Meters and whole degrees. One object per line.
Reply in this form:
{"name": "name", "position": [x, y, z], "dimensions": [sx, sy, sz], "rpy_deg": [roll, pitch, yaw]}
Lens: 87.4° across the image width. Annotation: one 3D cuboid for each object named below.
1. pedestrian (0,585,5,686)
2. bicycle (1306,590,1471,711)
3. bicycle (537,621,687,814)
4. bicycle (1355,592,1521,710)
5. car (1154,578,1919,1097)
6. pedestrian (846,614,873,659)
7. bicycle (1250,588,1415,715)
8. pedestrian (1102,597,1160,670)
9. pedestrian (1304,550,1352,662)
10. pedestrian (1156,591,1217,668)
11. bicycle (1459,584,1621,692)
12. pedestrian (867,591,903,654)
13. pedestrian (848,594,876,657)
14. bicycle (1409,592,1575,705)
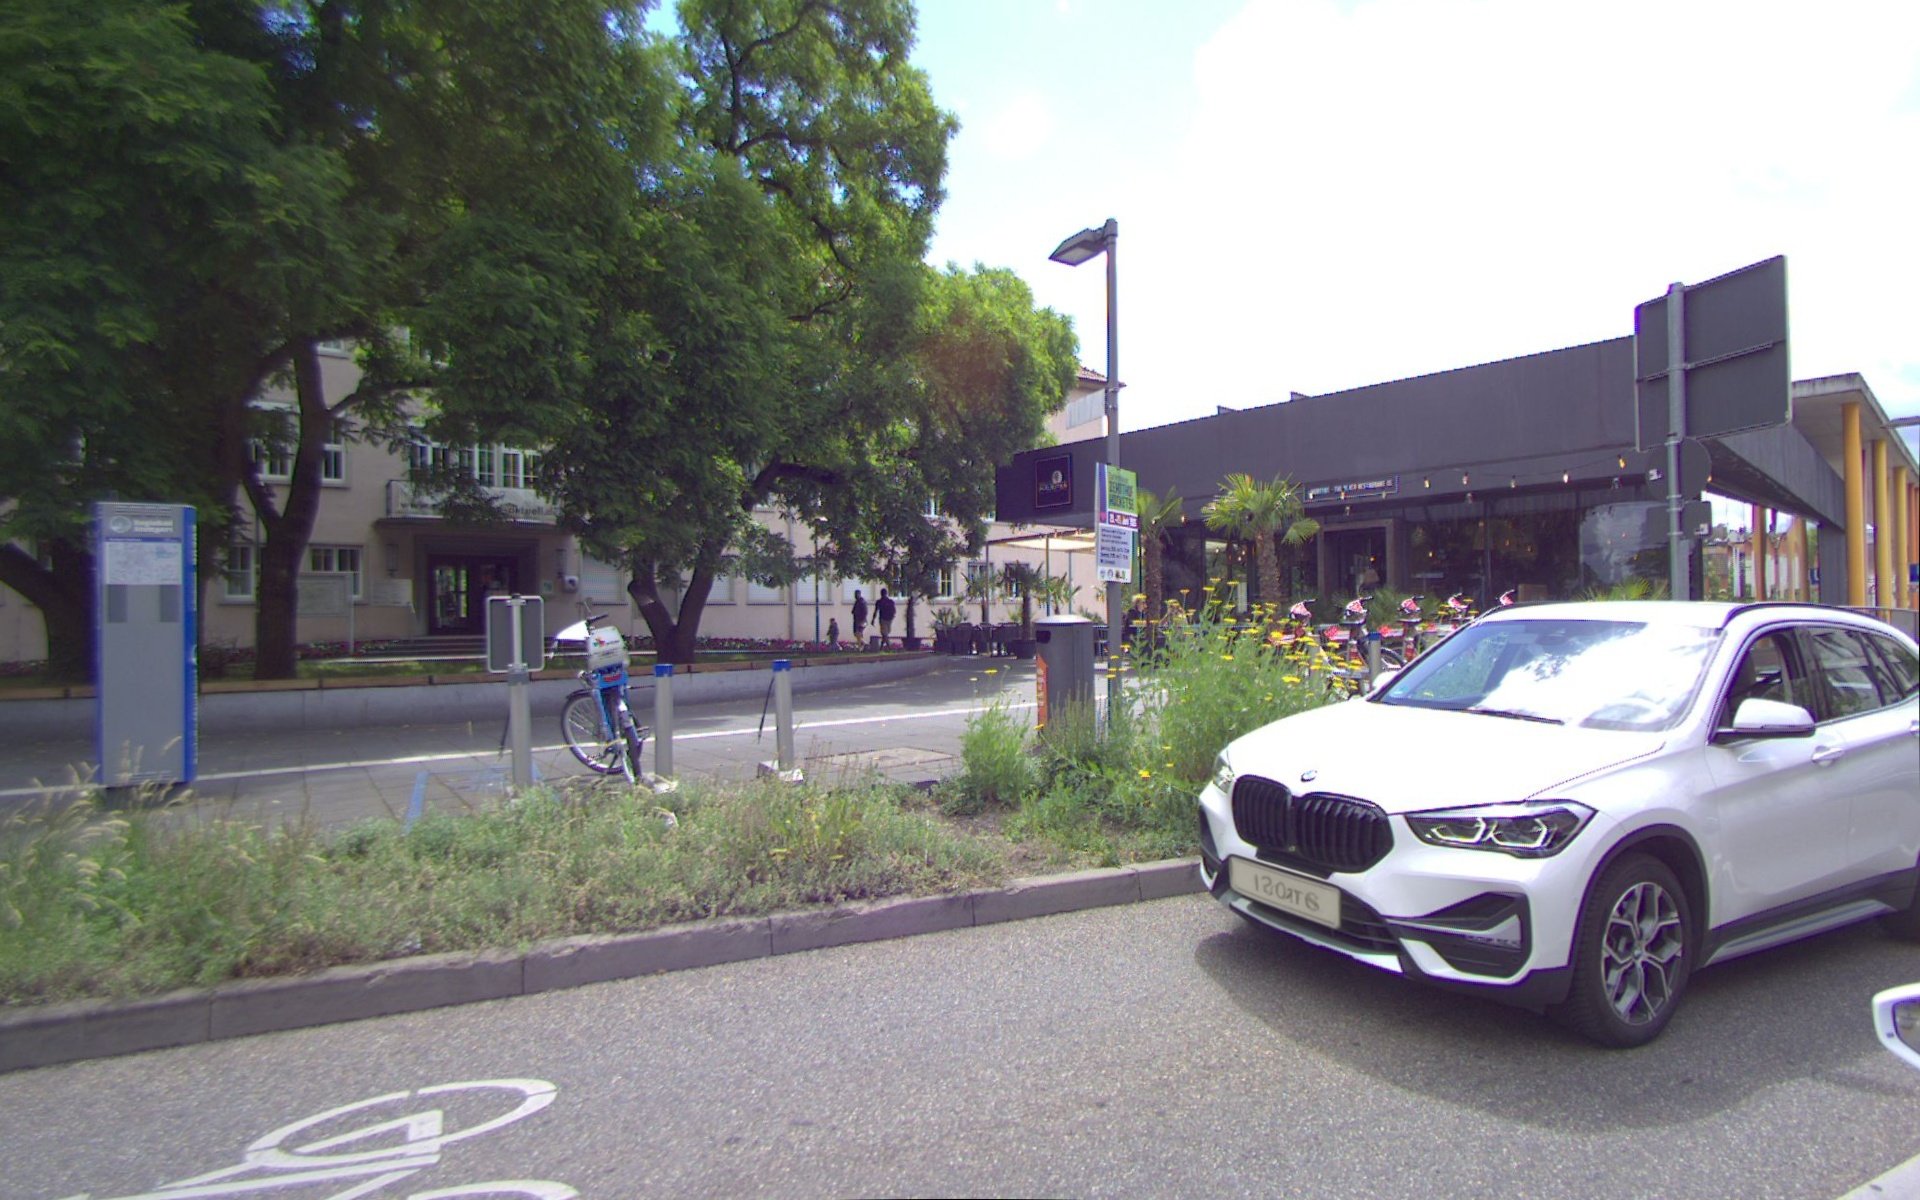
{"name": "pedestrian", "position": [-18.100, 0.652, 18.286], "dimensions": [0.867, 1.875, 0.657], "rpy_deg": [-1, 0, -29]}
{"name": "bicycle", "position": [4.345, 0.512, 10.288], "dimensions": [0.527, 1.142, 1.540], "rpy_deg": [1, -2, -29]}
{"name": "bicycle", "position": [-2.335, 0.706, 6.618], "dimensions": [0.510, 1.096, 1.676], "rpy_deg": [-1, -1, -34]}
{"name": "bicycle", "position": [4.975, 0.525, 10.542], "dimensions": [0.527, 1.142, 1.540], "rpy_deg": [1, -2, -29]}
{"name": "car", "position": [3.145, 0.788, 4.902], "dimensions": [4.113, 1.605, 1.815], "rpy_deg": [1, -1, -28]}
{"name": "pedestrian", "position": [-3.042, 1.095, 30.322], "dimensions": [0.586, 1.355, 0.639], "rpy_deg": [2, -1, -30]}
{"name": "bicycle", "position": [3.605, 0.493, 9.846], "dimensions": [0.527, 1.142, 1.540], "rpy_deg": [1, -2, -29]}
{"name": "pedestrian", "position": [3.368, 0.659, 19.799], "dimensions": [0.787, 1.397, 0.790], "rpy_deg": [3, -2, -43]}
{"name": "pedestrian", "position": [7.006, 0.123, 19.123], "dimensions": [0.625, 2.079, 0.665], "rpy_deg": [0, -2, 44]}
{"name": "pedestrian", "position": [4.222, 0.549, 18.745], "dimensions": [0.787, 1.397, 0.790], "rpy_deg": [3, -2, -43]}
{"name": "bicycle", "position": [6.590, 0.436, 11.494], "dimensions": [0.527, 1.142, 1.540], "rpy_deg": [1, -2, -29]}
{"name": "pedestrian", "position": [-1.918, 0.572, 25.693], "dimensions": [0.636, 1.584, 0.731], "rpy_deg": [2, -1, -30]}
{"name": "pedestrian", "position": [-2.881, 0.754, 29.524], "dimensions": [0.586, 1.831, 0.639], "rpy_deg": [2, -1, -30]}
{"name": "bicycle", "position": [5.741, 0.520, 10.921], "dimensions": [0.527, 1.142, 1.540], "rpy_deg": [1, -2, -29]}
